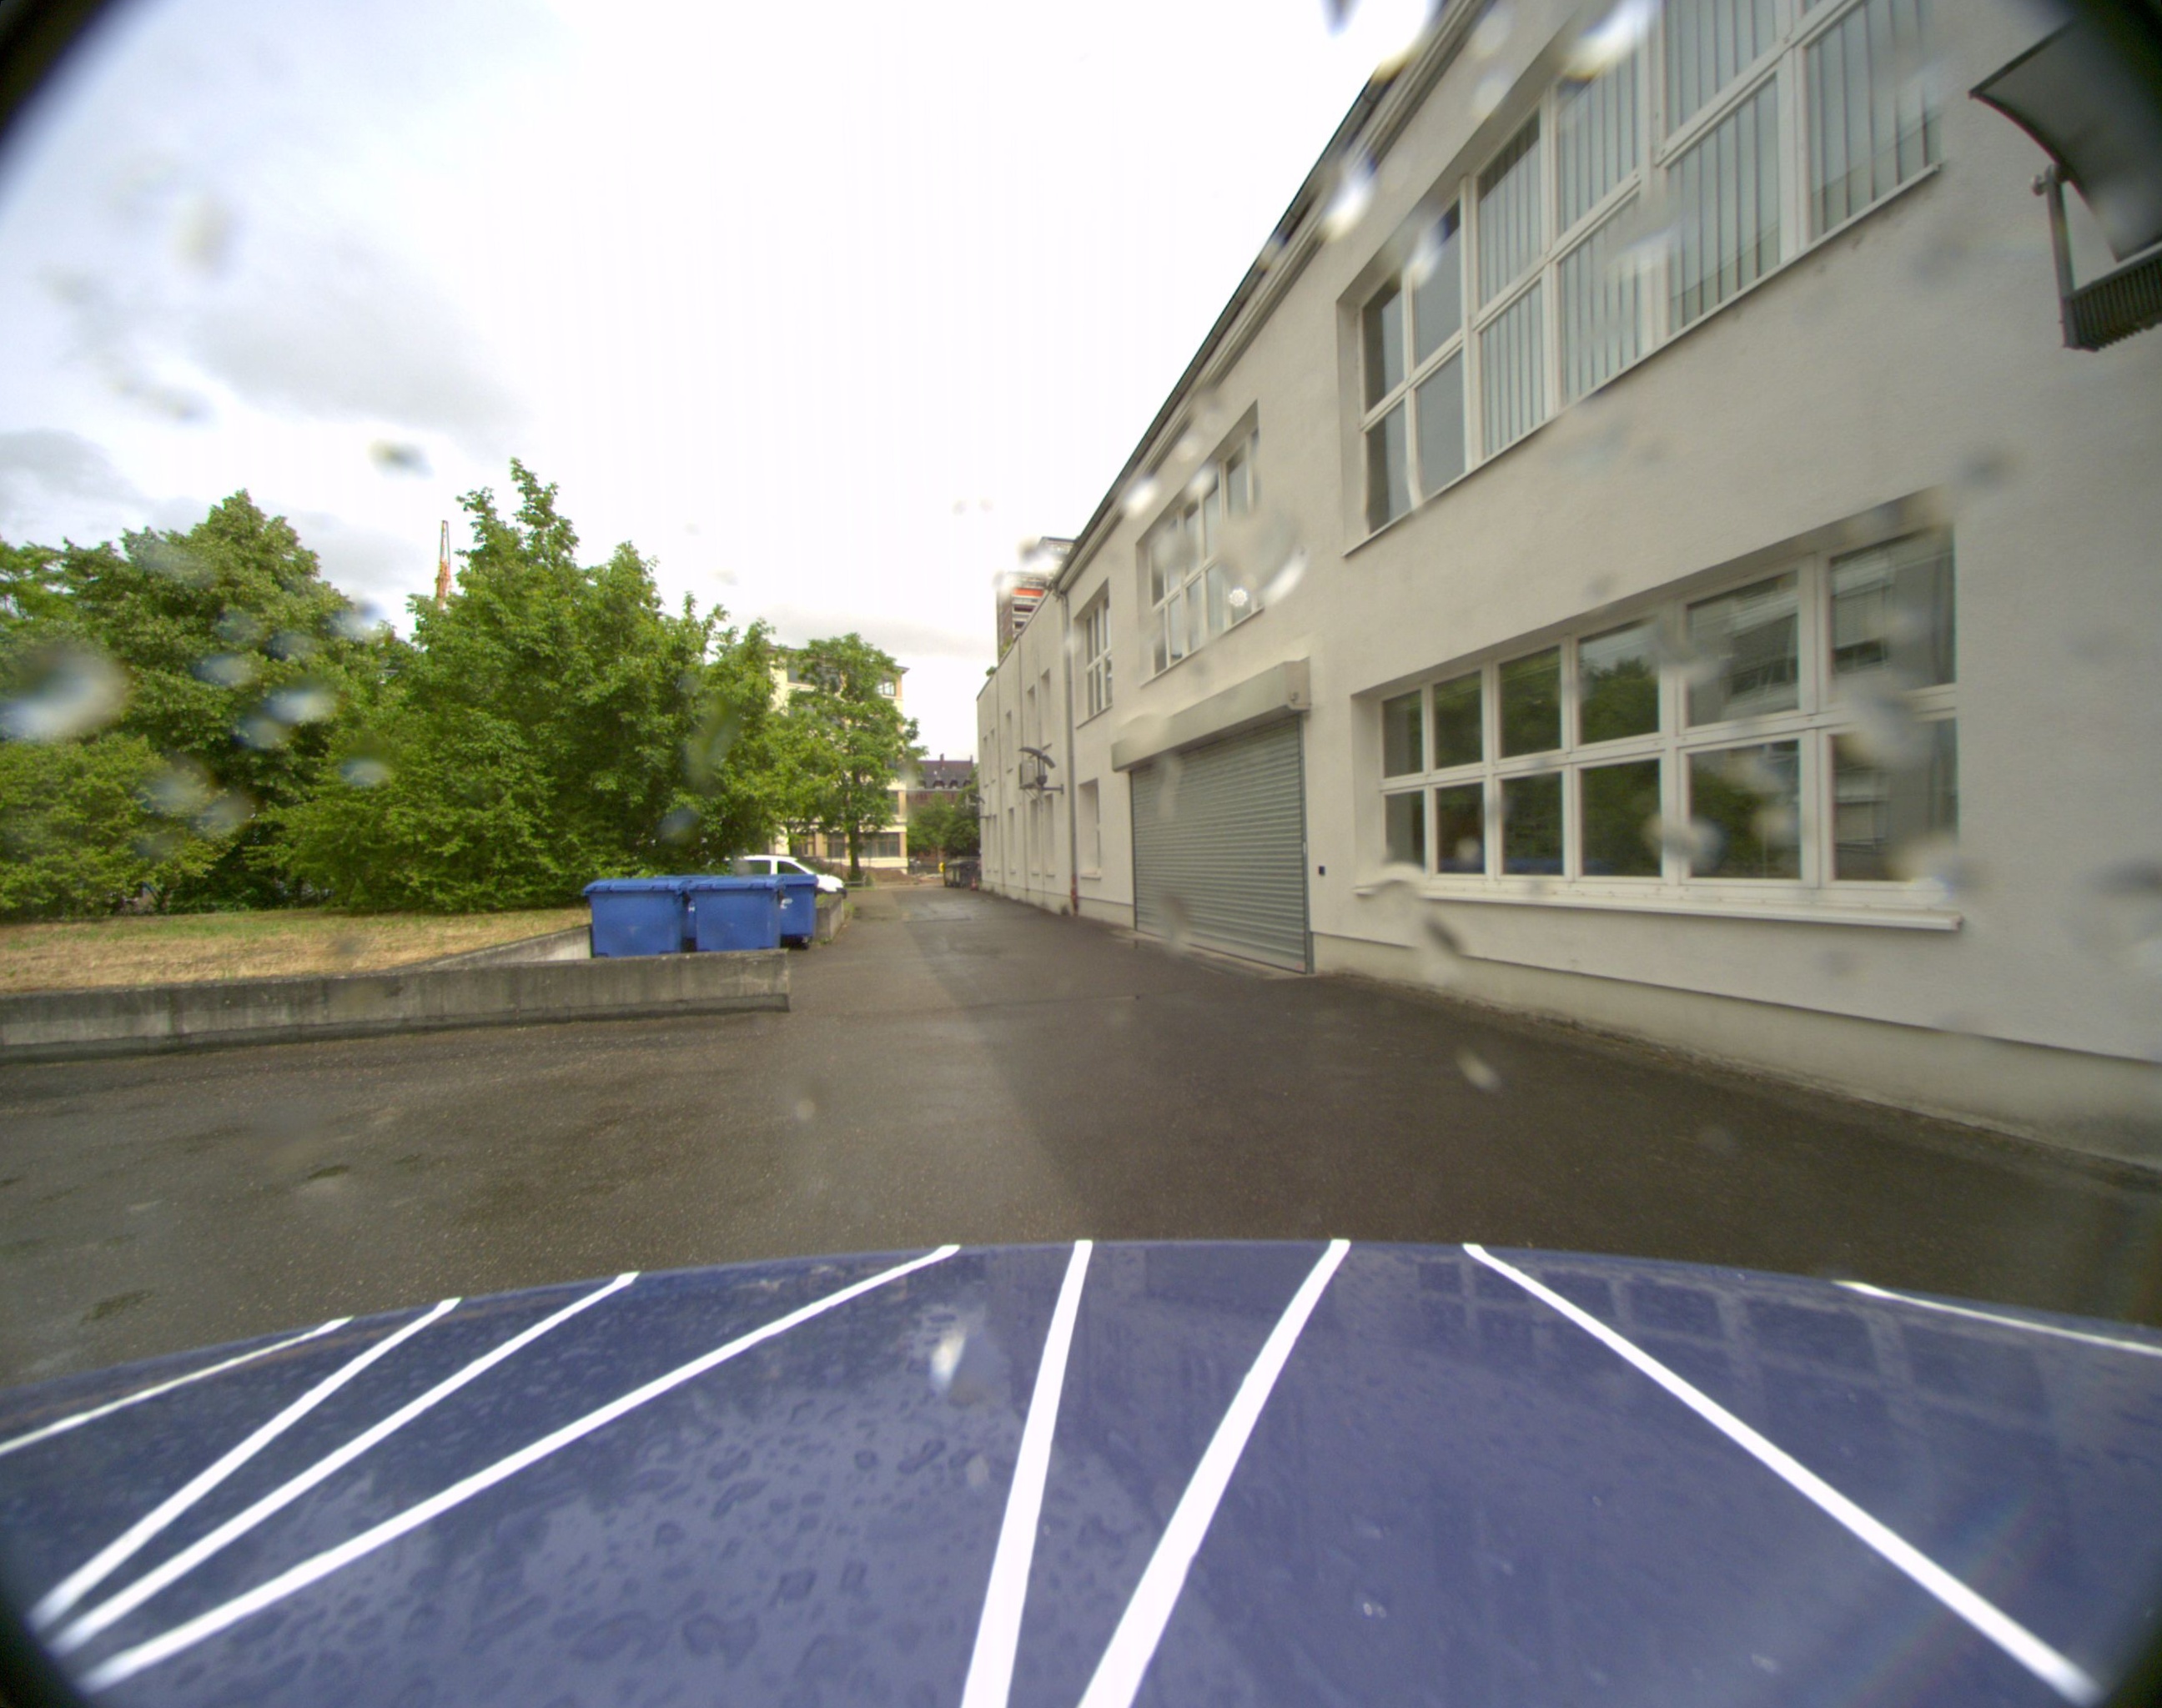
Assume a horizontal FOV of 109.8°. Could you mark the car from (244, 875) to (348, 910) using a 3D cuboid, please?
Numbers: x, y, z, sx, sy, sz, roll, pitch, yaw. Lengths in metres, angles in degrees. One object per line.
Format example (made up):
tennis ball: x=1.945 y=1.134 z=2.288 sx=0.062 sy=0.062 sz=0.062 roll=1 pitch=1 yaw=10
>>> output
car: x=-36.143 y=1.718 z=35.121 sx=1.984 sy=1.401 sz=4.040 roll=-3 pitch=0 yaw=-26

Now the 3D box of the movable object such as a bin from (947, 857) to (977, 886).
movable object such as a bin: x=-6.537 y=0.967 z=41.723 sx=1.364 sy=1.462 sz=1.350 roll=-3 pitch=0 yaw=-16

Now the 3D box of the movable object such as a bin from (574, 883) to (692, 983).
movable object such as a bin: x=-6.459 y=1.109 z=11.041 sx=1.234 sy=1.309 sz=1.054 roll=-1 pitch=0 yaw=-16

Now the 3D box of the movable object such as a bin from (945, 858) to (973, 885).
movable object such as a bin: x=-6.936 y=0.986 z=43.114 sx=1.364 sy=1.462 sz=1.463 roll=-3 pitch=0 yaw=-16

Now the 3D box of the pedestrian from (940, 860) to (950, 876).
pedestrian: x=-13.087 y=1.349 z=73.290 sx=0.623 sy=1.500 sz=0.650 roll=-1 pitch=0 yaw=34

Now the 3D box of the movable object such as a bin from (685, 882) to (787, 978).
movable object such as a bin: x=-5.150 y=1.097 z=11.431 sx=1.234 sy=1.309 sz=1.054 roll=-1 pitch=0 yaw=-16

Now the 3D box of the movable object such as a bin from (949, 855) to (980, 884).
movable object such as a bin: x=-6.204 y=0.815 z=40.364 sx=1.364 sy=1.462 sz=1.364 roll=-3 pitch=0 yaw=-16

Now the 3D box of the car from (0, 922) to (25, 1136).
car: x=-8.597 y=1.104 z=3.560 sx=4.003 sy=1.346 sz=1.788 roll=0 pitch=0 yaw=-16

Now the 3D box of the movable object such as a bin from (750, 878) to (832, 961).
movable object such as a bin: x=-5.065 y=1.116 z=13.366 sx=1.179 sy=1.310 sz=1.054 roll=-3 pitch=0 yaw=-16

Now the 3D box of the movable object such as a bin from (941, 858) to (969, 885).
movable object such as a bin: x=-7.422 y=1.016 z=44.764 sx=1.414 sy=1.462 sz=1.559 roll=-3 pitch=0 yaw=-16

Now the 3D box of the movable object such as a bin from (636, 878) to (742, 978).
movable object such as a bin: x=-6.418 y=1.178 z=12.536 sx=1.280 sy=1.474 sz=1.100 roll=-3 pitch=0 yaw=-16

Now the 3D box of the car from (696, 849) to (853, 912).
car: x=-11.022 y=0.921 z=27.722 sx=4.954 sy=2.002 sz=1.998 roll=-2 pitch=1 yaw=-12

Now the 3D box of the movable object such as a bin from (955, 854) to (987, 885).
movable object such as a bin: x=-5.609 y=0.775 z=38.746 sx=1.364 sy=1.462 sz=1.364 roll=-3 pitch=0 yaw=-16
